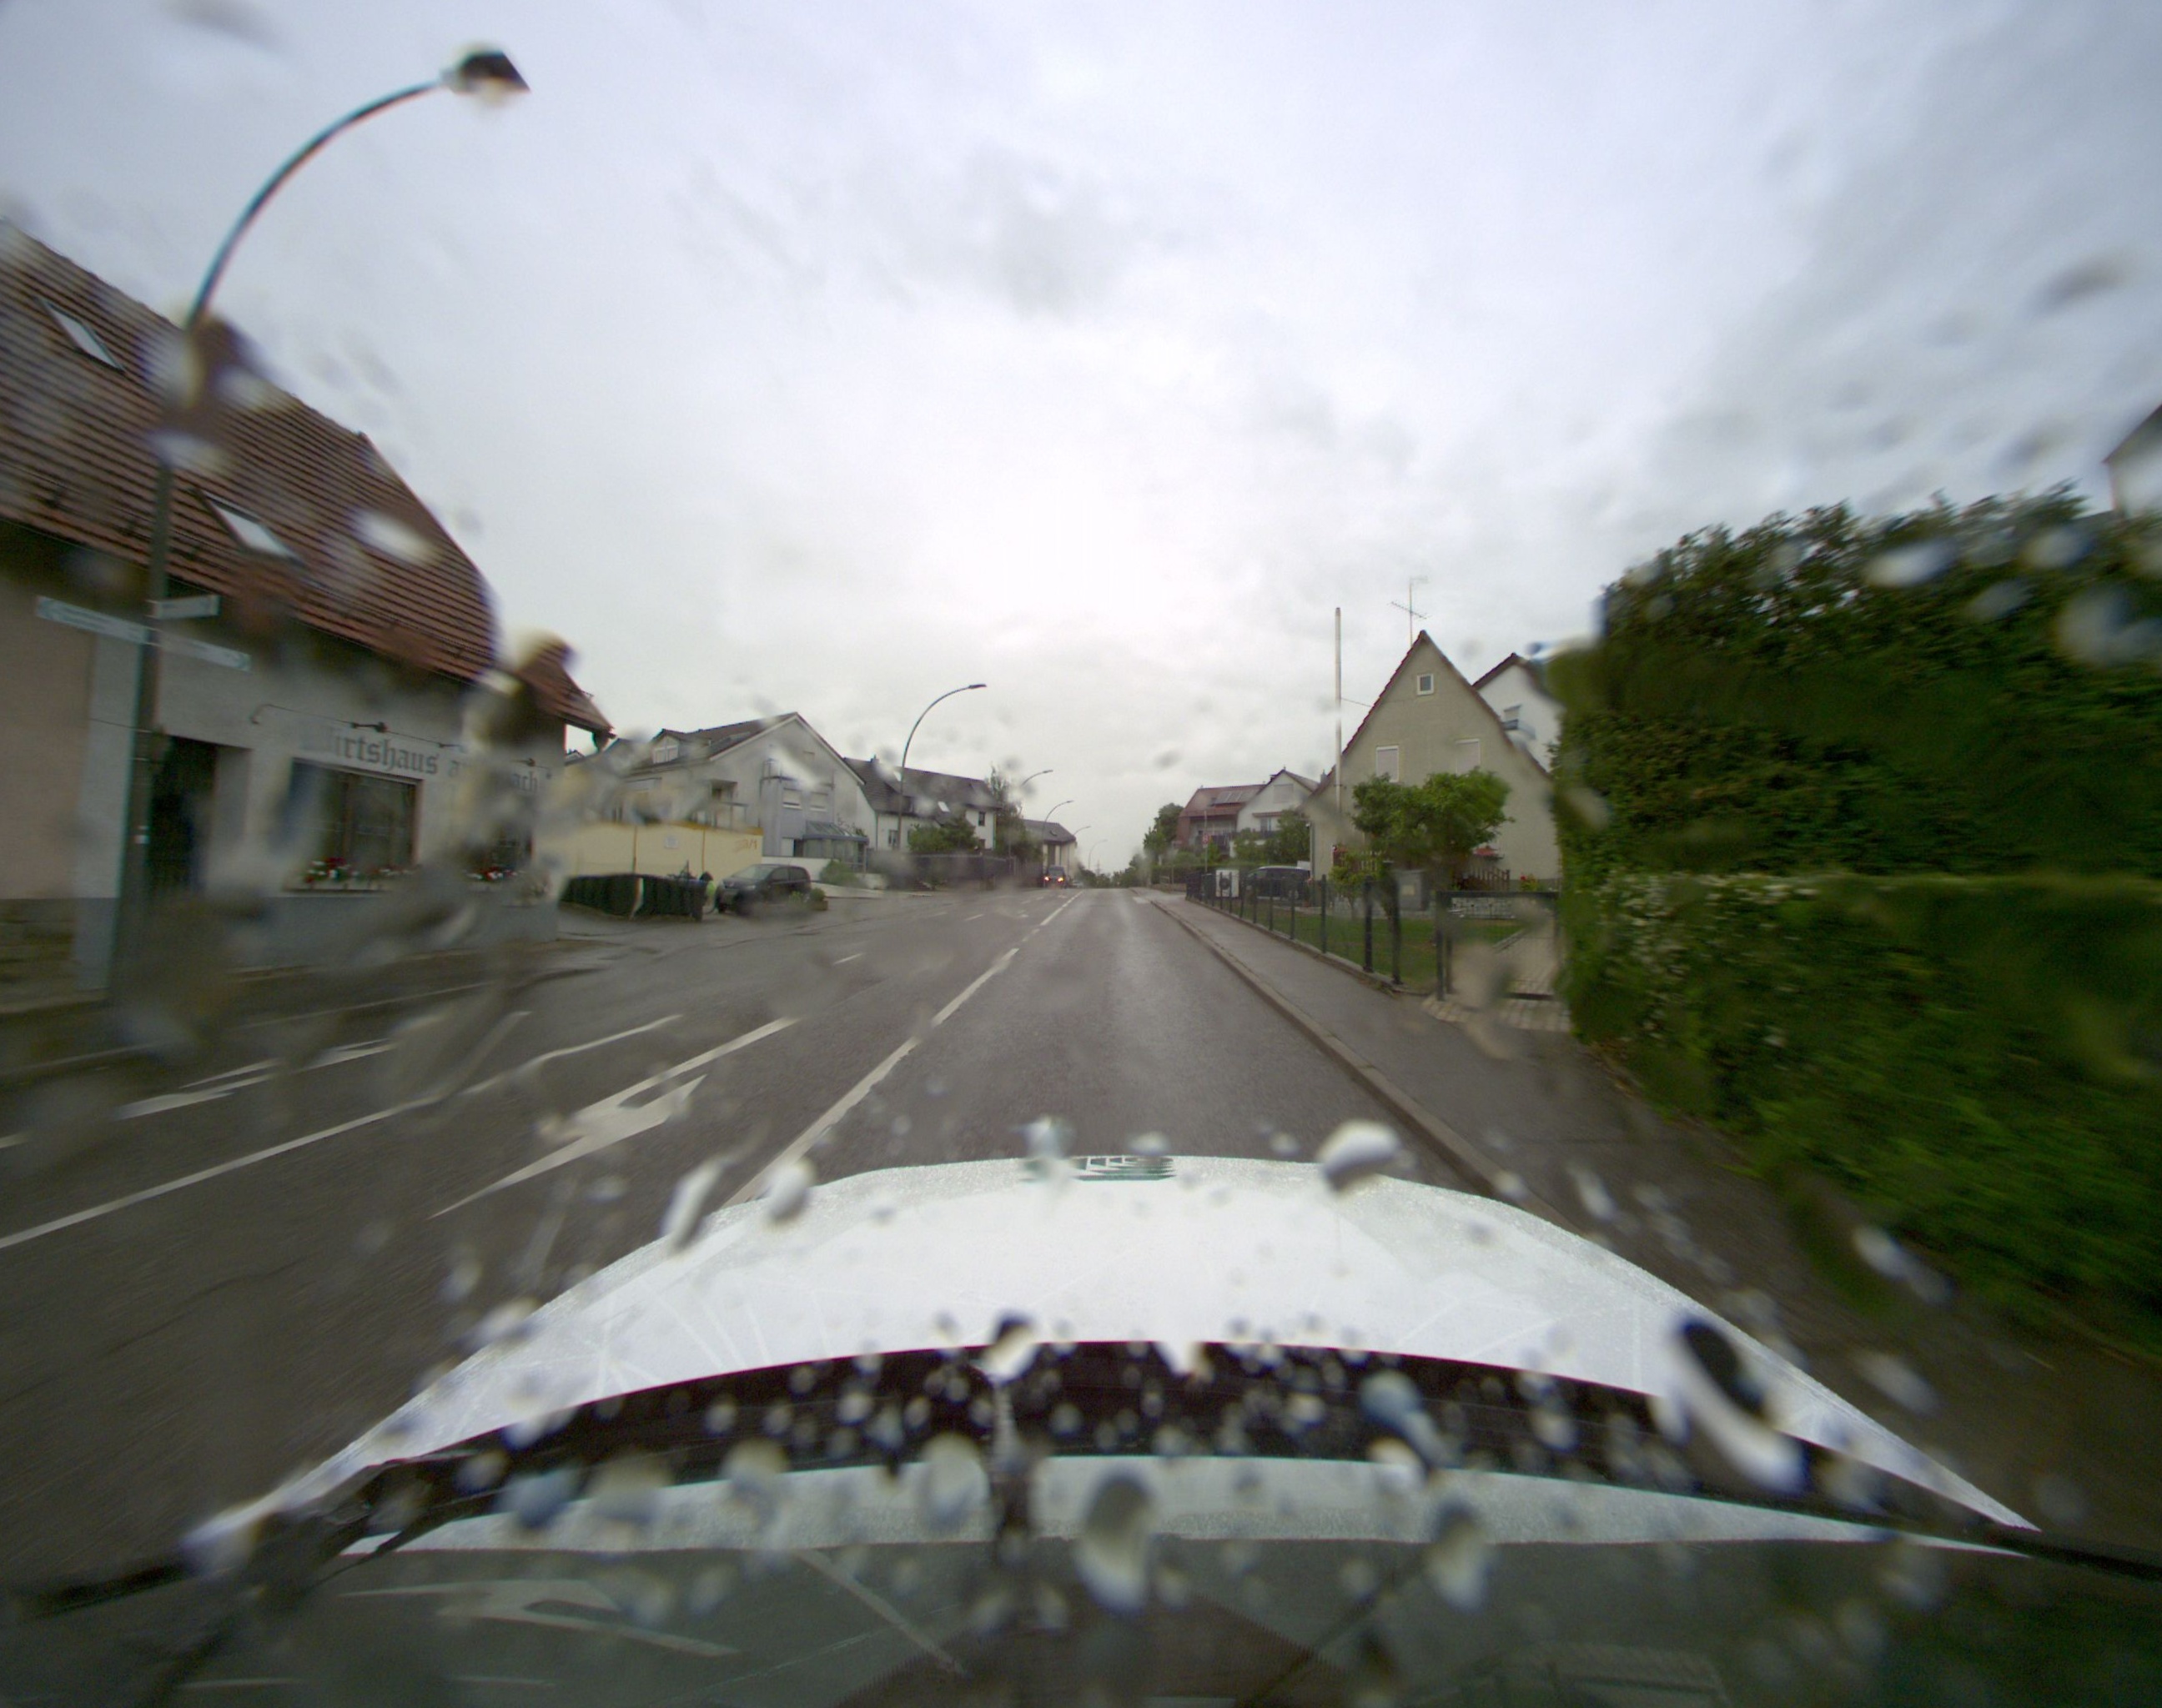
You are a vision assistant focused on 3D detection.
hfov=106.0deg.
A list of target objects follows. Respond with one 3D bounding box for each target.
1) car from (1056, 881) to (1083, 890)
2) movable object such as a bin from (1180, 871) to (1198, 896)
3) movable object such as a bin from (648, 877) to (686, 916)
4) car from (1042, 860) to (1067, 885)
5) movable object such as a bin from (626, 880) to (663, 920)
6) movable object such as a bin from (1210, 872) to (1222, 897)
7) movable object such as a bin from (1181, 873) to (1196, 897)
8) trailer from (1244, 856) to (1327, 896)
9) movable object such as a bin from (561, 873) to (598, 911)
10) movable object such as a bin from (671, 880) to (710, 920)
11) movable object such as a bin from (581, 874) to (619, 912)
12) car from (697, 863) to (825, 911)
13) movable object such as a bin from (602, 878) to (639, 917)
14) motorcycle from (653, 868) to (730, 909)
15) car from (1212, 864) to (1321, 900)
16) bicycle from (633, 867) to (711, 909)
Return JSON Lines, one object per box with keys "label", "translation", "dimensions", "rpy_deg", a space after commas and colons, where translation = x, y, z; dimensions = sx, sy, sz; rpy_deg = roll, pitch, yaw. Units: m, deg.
{"label": "car", "translation": [-2.002, 5.536, 143.745], "dimensions": [1.882, 1.477, 4.912], "rpy_deg": [0, -2, 39]}
{"label": "movable object such as a bin", "translation": [4.489, 1.223, 33.794], "dimensions": [0.525, 1.021, 0.737], "rpy_deg": [-2, -1, 21]}
{"label": "movable object such as a bin", "translation": [-11.176, 1.139, 21.991], "dimensions": [0.633, 1.032, 0.607], "rpy_deg": [-2, -1, 15]}
{"label": "car", "translation": [-2.909, 2.123, 91.862], "dimensions": [2.084, 2.649, 5.925], "rpy_deg": [1, -2, 5]}
{"label": "movable object such as a bin", "translation": [-11.993, 1.253, 22.375], "dimensions": [0.633, 1.032, 0.607], "rpy_deg": [1, 0, 15]}
{"label": "movable object such as a bin", "translation": [5.614, 1.270, 33.905], "dimensions": [0.439, 1.021, 0.526], "rpy_deg": [-2, -1, 13]}
{"label": "movable object such as a bin", "translation": [4.704, 1.346, 35.731], "dimensions": [0.624, 1.021, 0.541], "rpy_deg": [-2, -1, 7]}
{"label": "trailer", "translation": [9.892, 1.046, 39.488], "dimensions": [3.419, 1.799, 1.698], "rpy_deg": [1, -2, 39]}
{"label": "movable object such as a bin", "translation": [-14.032, 1.061, 22.793], "dimensions": [0.633, 1.032, 0.607], "rpy_deg": [-2, -1, 15]}
{"label": "movable object such as a bin", "translation": [-10.425, 1.231, 21.778], "dimensions": [0.633, 1.032, 0.676], "rpy_deg": [-2, -1, 15]}
{"label": "movable object such as a bin", "translation": [-13.348, 1.078, 22.610], "dimensions": [0.633, 1.032, 0.607], "rpy_deg": [-2, -1, 15]}
{"label": "car", "translation": [-10.637, 1.046, 27.357], "dimensions": [1.885, 1.442, 3.847], "rpy_deg": [1, 0, 20]}
{"label": "movable object such as a bin", "translation": [-12.674, 1.194, 22.419], "dimensions": [0.633, 1.032, 0.607], "rpy_deg": [-2, -1, 15]}
{"label": "motorcycle", "translation": [-11.974, 1.044, 25.062], "dimensions": [2.093, 1.114, 0.783], "rpy_deg": [3, -2, 18]}
{"label": "car", "translation": [8.345, 1.250, 36.508], "dimensions": [4.519, 1.384, 2.010], "rpy_deg": [-2, 0, 19]}
{"label": "bicycle", "translation": [-12.230, 1.007, 24.343], "dimensions": [2.081, 1.114, 0.740], "rpy_deg": [3, -2, 18]}
